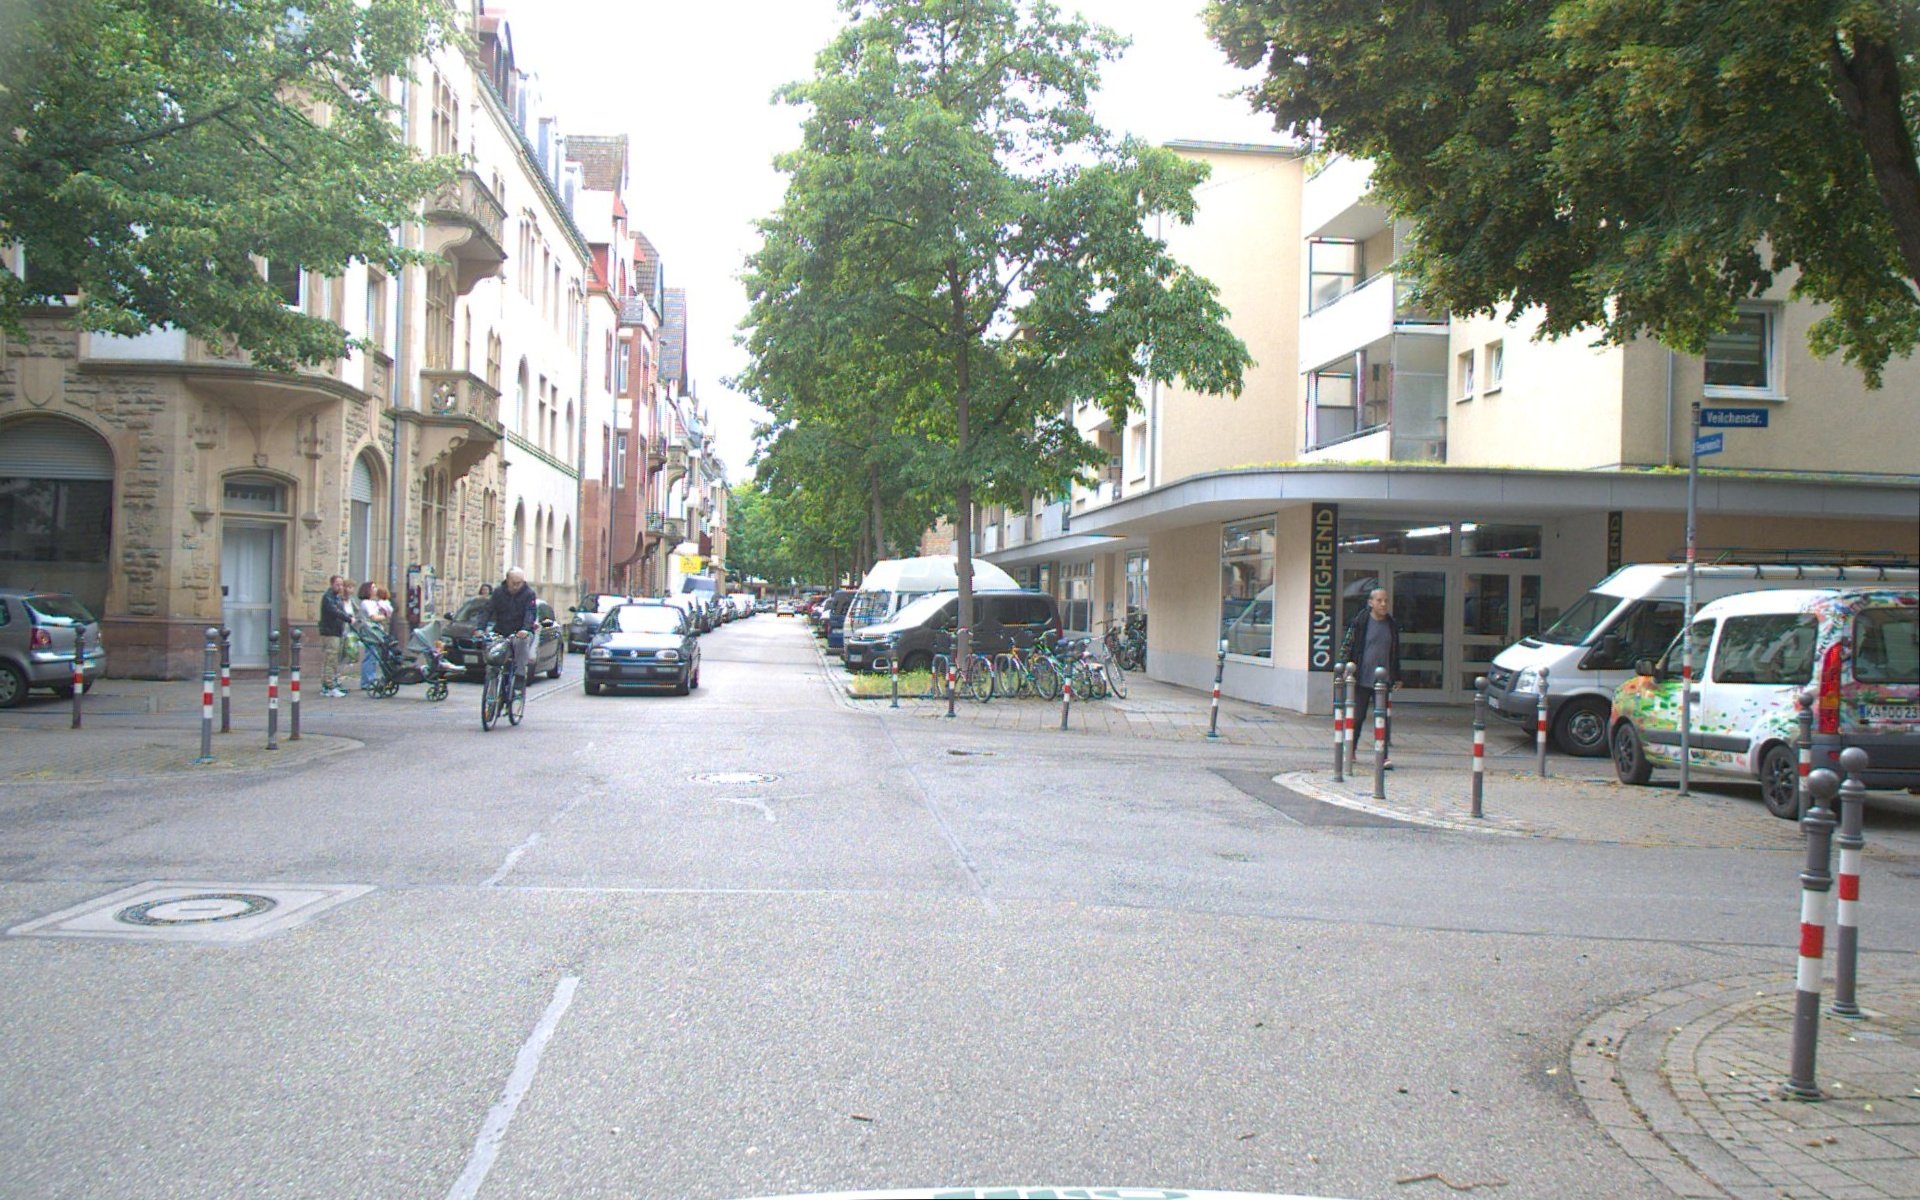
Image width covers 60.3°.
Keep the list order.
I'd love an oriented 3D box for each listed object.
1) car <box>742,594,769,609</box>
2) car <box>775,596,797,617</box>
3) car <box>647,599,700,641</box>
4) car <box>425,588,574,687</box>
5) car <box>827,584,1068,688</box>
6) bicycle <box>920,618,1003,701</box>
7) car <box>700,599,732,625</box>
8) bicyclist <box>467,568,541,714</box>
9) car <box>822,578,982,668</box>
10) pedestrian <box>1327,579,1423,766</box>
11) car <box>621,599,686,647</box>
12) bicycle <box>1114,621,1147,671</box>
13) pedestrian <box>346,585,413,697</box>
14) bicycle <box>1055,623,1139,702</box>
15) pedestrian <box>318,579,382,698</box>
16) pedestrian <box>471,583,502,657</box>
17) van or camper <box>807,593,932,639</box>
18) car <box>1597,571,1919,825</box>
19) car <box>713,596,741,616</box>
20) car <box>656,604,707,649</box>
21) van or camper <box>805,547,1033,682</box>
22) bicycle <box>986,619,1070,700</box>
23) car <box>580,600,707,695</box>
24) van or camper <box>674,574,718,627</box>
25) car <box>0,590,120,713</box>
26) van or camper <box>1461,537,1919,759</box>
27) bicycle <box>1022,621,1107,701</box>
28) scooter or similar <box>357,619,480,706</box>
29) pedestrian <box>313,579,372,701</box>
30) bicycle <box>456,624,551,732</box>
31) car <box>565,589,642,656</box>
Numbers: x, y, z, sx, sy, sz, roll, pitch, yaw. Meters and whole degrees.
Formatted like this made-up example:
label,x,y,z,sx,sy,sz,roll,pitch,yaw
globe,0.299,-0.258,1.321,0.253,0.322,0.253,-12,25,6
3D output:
label,x,y,z,sx,sy,sz,roll,pitch,yaw
car,-24.867,0.163,201.292,1.804,1.673,3.710,4,-2,-33
car,-16.750,0.637,159.293,1.955,1.825,3.995,3,-2,-5
car,-10.879,0.750,62.964,1.630,1.445,3.924,3,0,-6
car,-7.928,0.648,28.799,1.676,1.521,3.996,3,-1,-4
car,-0.214,0.694,31.872,4.288,1.886,1.891,1,0,-31
bicycle,0.006,0.902,25.422,0.542,1.194,1.713,1,0,-27
car,-15.552,0.753,105.560,1.755,1.506,4.017,2,0,-6
bicyclist,-5.001,0.442,18.180,0.635,1.565,0.676,1,0,-4
car,-1.470,0.597,43.598,2.024,2.235,4.385,1,0,34
pedestrian,4.167,0.721,16.632,0.763,1.828,0.509,2,0,-4
car,-10.063,0.725,54.519,1.693,1.410,4.131,3,0,-6
bicycle,3.981,1.061,38.751,0.475,1.109,1.699,1,0,-4
pedestrian,-8.642,0.604,24.626,0.619,1.621,0.667,2,0,35
bicycle,2.199,0.998,26.783,0.542,1.194,1.683,1,0,-27
pedestrian,-8.812,0.547,23.912,0.603,1.672,0.604,2,0,6
pedestrian,-10.016,0.422,34.988,0.505,1.545,0.546,1,0,-6
van or camper,-3.806,0.652,69.839,4.961,1.902,2.102,0,0,-34
car,7.193,0.732,14.158,1.735,1.851,3.997,1,0,-3
car,-18.010,0.443,128.045,1.955,1.501,3.995,1,0,-6
car,-11.636,1.081,69.294,1.752,1.675,4.356,3,0,-6
van or camper,-0.809,0.313,34.531,4.550,2.641,1.885,2,0,-39
bicycle,1.055,0.923,26.120,0.542,1.194,1.713,1,0,-27
car,-5.154,0.776,27.326,1.675,1.438,3.847,1,-1,-5
van or camper,-14.176,-0.003,88.996,1.969,2.697,5.310,1,1,-6
car,-13.147,0.629,21.611,3.494,1.485,1.650,1,2,3
van or camper,9.540,0.552,20.980,5.653,2.537,2.136,1,3,-1
bicycle,1.655,0.962,26.453,0.542,1.194,1.713,1,0,-27
scooter or similar,-7.698,0.882,23.545,1.438,1.123,0.676,4,0,6
pedestrian,-8.710,0.561,23.337,0.516,1.672,0.529,3,0,6
bicycle,-4.992,0.829,18.192,0.621,1.113,1.798,1,-1,-4
car,-9.346,0.567,43.516,1.615,1.598,2.952,3,1,-7
